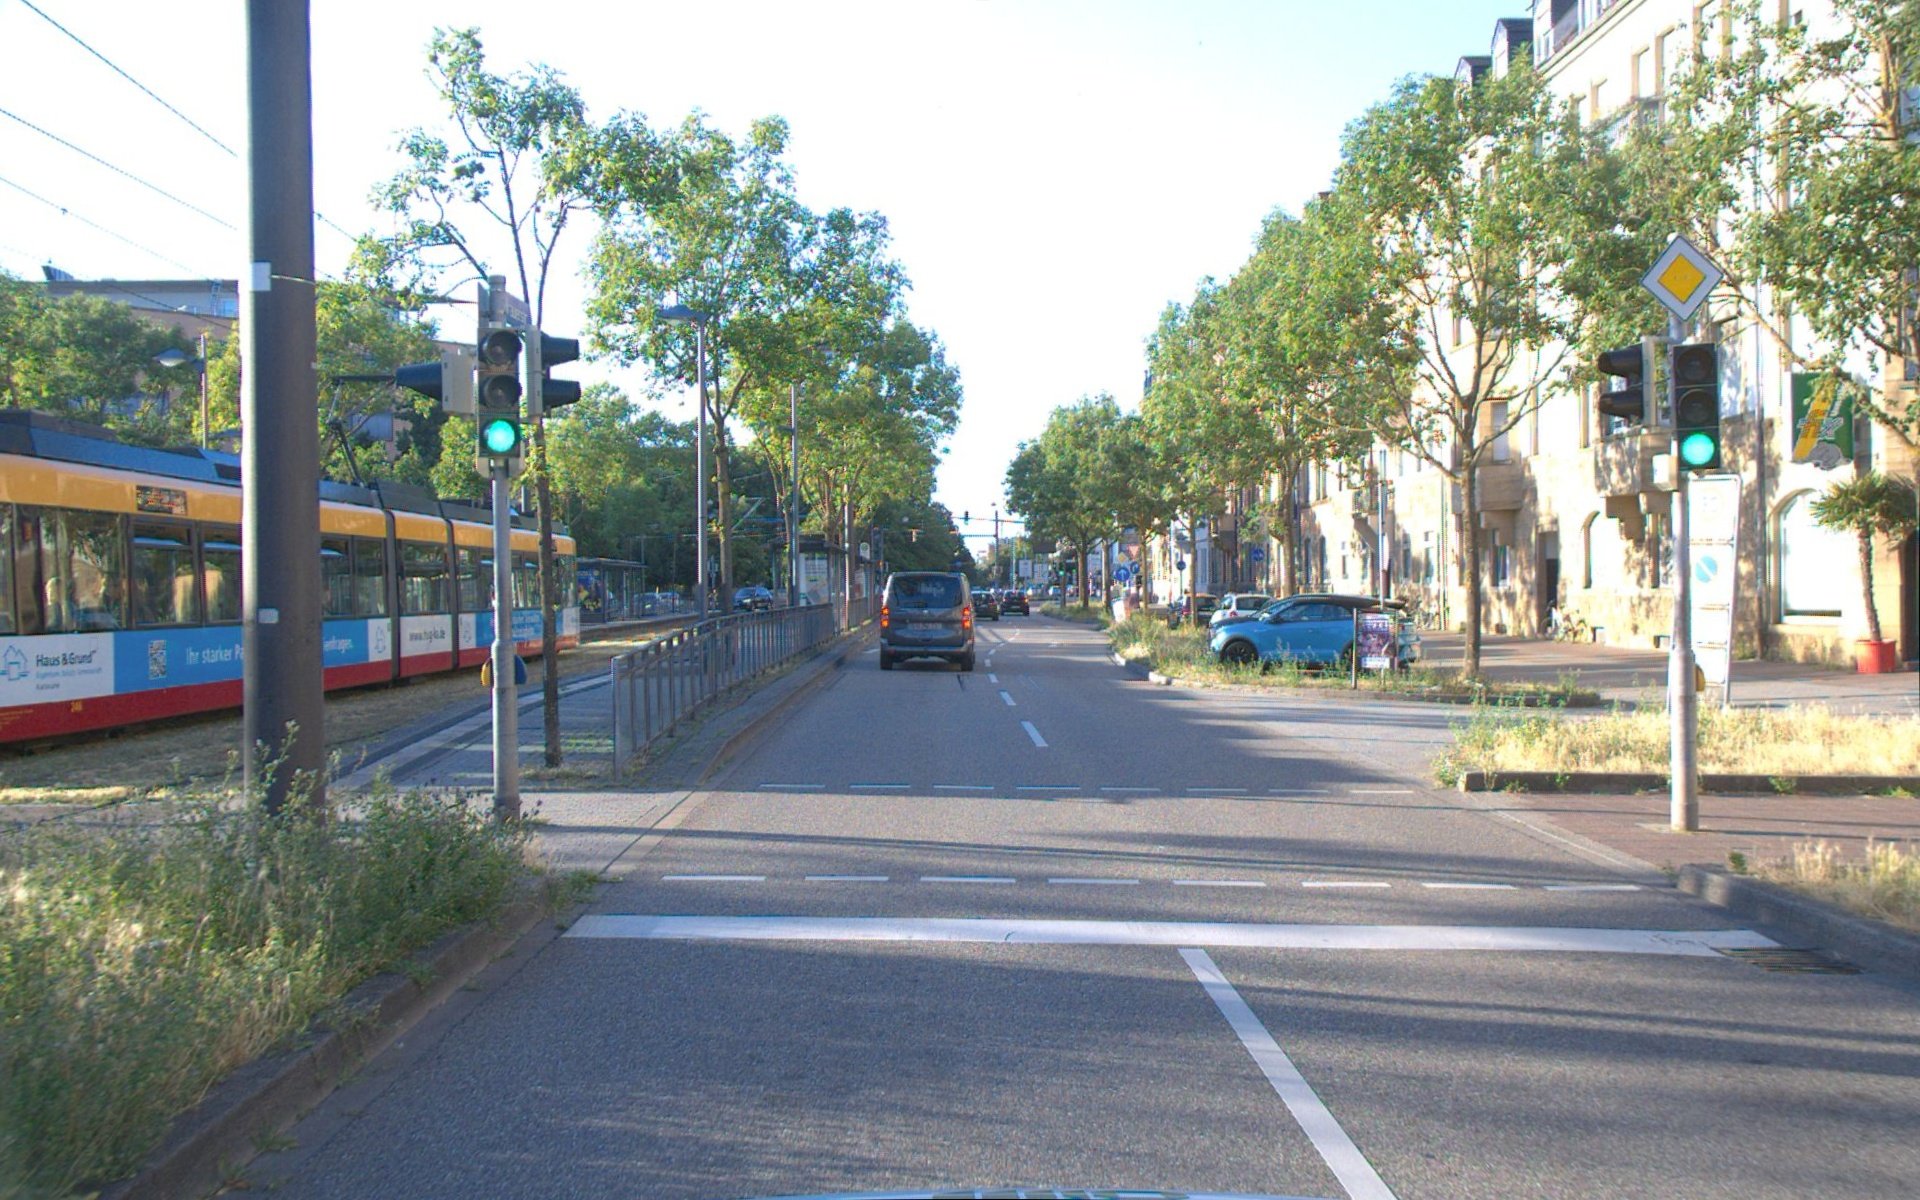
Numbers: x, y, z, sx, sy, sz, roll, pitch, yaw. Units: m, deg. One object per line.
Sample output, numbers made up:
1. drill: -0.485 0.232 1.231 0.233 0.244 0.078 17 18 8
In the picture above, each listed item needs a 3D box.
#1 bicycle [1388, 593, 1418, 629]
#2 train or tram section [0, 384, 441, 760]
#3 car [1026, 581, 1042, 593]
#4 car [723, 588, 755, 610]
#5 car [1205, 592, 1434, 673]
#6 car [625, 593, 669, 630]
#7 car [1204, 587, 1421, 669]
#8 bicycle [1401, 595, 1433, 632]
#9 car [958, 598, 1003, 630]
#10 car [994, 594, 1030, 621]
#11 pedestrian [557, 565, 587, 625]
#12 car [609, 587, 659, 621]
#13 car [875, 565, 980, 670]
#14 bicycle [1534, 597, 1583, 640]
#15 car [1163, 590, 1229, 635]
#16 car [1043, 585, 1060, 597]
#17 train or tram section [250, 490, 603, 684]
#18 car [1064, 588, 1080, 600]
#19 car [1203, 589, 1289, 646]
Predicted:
1. bicycle: 15.498 0.375 57.883 0.473 1.185 1.746 -6 0 0
2. train or tram section: -10.682 -0.263 21.453 3.361 3.490 15.025 0 0 -1
3. car: 10.762 -1.848 241.444 1.954 1.685 4.296 -1 0 -3
4. car: -15.248 -0.065 114.337 1.758 1.440 4.340 1 0 -1
5. car: 7.283 0.618 33.618 4.196 1.548 1.843 0 0 32
6. car: -17.995 0.630 95.267 1.821 2.049 3.999 1 0 -1
7. car: 7.692 0.555 36.148 4.245 1.599 1.999 2 1 29
8. bicycle: 15.457 0.440 55.979 0.473 1.185 1.746 -6 0 0
9. car: 1.009 0.681 82.738 1.954 1.537 3.997 1 0 -4
10. car: 3.083 0.456 98.418 1.953 1.537 3.999 1 0 -1
11. pedestrian: -13.469 -0.181 57.438 0.754 2.049 1.127 -1 0 1
12. car: -16.811 0.189 85.472 1.821 1.683 3.999 1 0 -1
13. car: -0.590 0.325 33.478 1.952 1.934 4.299 1 0 1
14. bicycle: 15.796 0.469 43.692 0.560 1.092 1.896 -1 0 -1
15. car: 8.332 0.408 58.732 1.669 1.474 4.288 2 0 0
16. car: 13.155 -1.232 238.898 1.954 1.685 4.296 -1 0 -3
17. train or tram section: -10.859 -0.249 35.966 3.361 3.398 13.855 0 0 -1
18. car: 16.114 -0.915 237.976 1.952 1.685 4.299 -1 0 1
19. car: 8.471 0.486 49.269 1.691 1.538 4.271 2 0 -1
